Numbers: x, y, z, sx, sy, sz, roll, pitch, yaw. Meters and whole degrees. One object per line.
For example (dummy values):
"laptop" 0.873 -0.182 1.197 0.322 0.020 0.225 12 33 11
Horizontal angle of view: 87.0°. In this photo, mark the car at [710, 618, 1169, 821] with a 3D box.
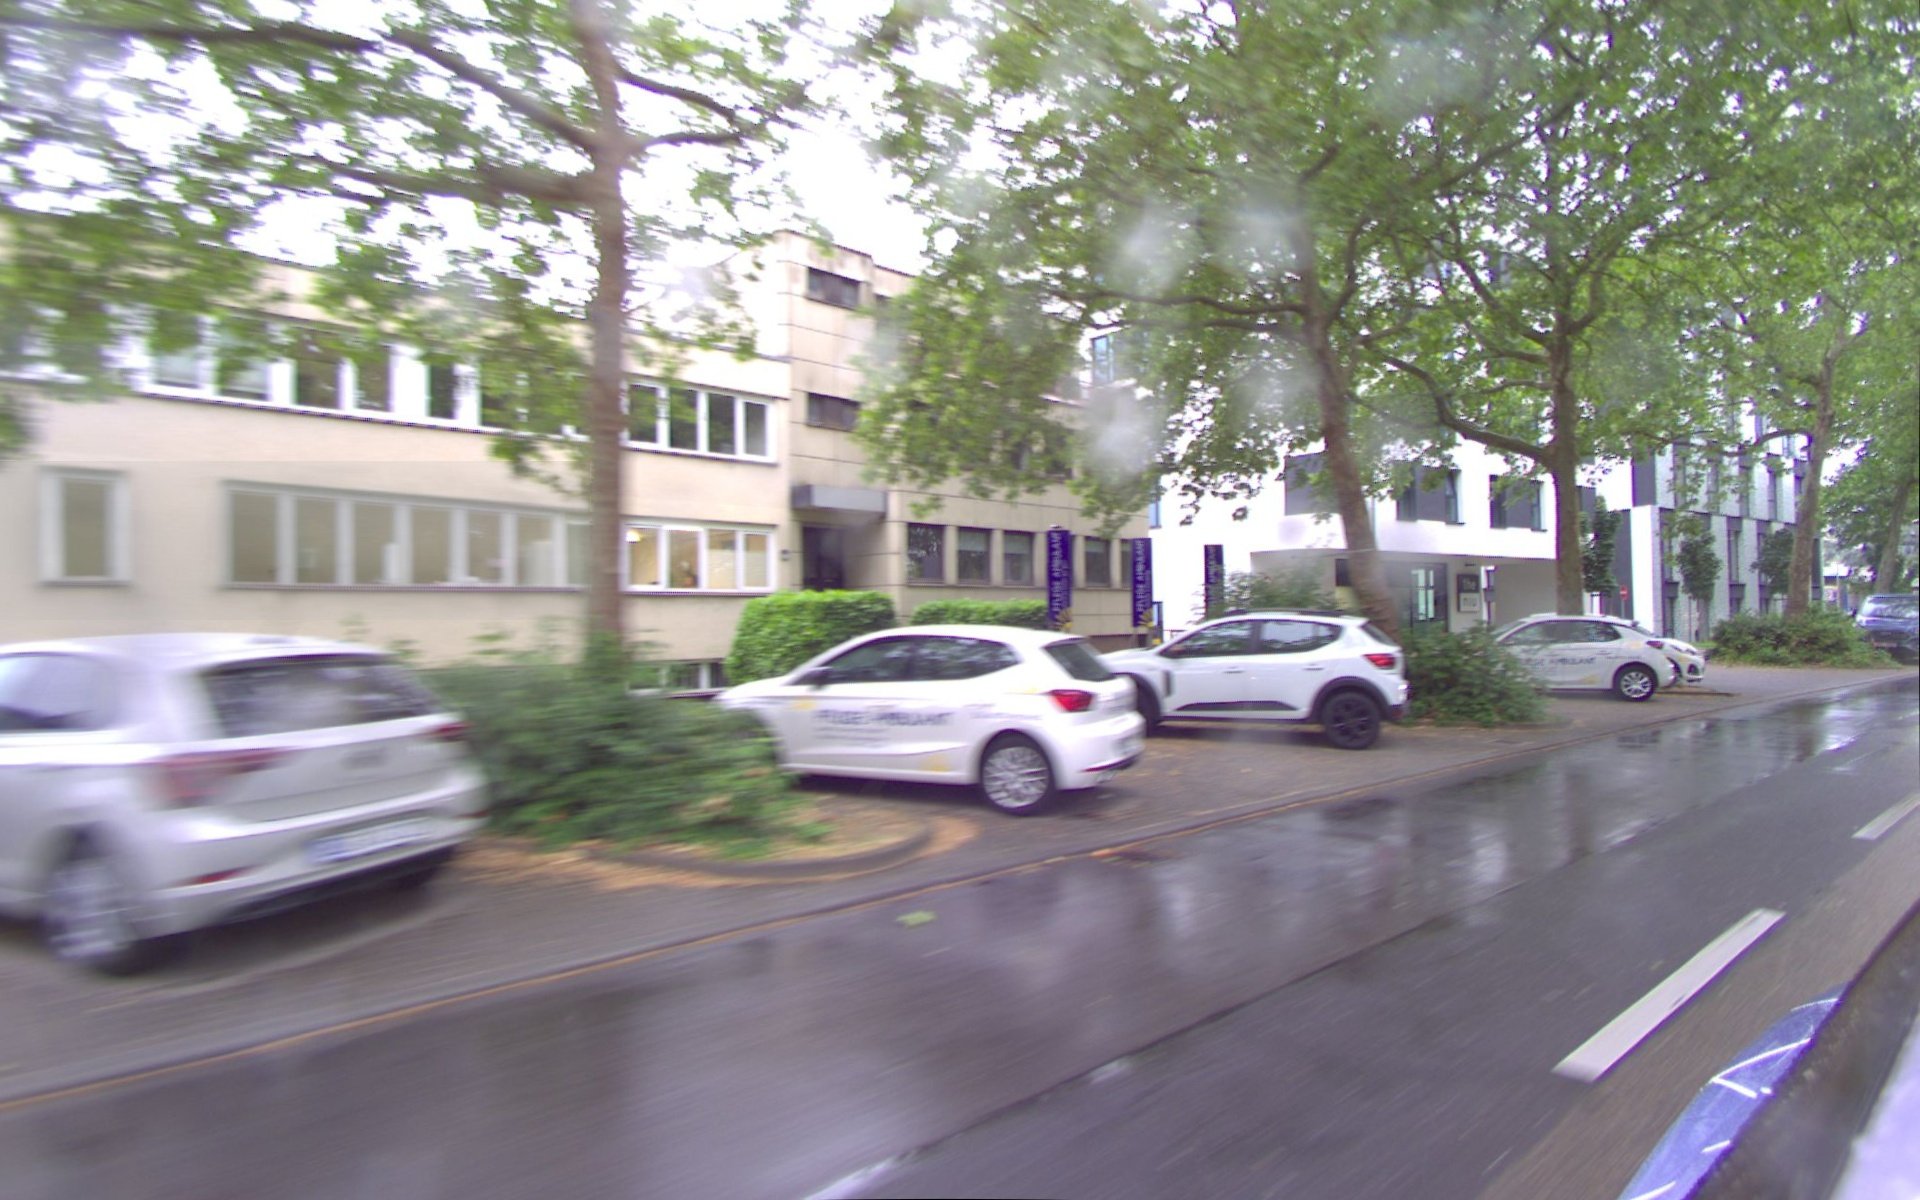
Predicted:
"car" -0.185 0.896 8.864 3.654 1.434 1.733 -1 -1 26

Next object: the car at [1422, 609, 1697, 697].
"car" 10.597 0.905 18.250 3.991 1.446 1.736 -1 -1 22

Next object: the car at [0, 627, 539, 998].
"car" -4.366 0.889 5.532 3.648 1.434 1.763 -1 -1 22

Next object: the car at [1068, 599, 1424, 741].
"car" 3.498 0.798 12.617 3.988 1.559 1.737 -1 -1 21

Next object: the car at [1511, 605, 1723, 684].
"car" 13.788 0.884 21.308 3.627 1.524 1.725 0 -1 38

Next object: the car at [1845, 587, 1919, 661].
"car" 28.507 0.654 29.924 5.420 2.054 2.128 0 -1 -33
